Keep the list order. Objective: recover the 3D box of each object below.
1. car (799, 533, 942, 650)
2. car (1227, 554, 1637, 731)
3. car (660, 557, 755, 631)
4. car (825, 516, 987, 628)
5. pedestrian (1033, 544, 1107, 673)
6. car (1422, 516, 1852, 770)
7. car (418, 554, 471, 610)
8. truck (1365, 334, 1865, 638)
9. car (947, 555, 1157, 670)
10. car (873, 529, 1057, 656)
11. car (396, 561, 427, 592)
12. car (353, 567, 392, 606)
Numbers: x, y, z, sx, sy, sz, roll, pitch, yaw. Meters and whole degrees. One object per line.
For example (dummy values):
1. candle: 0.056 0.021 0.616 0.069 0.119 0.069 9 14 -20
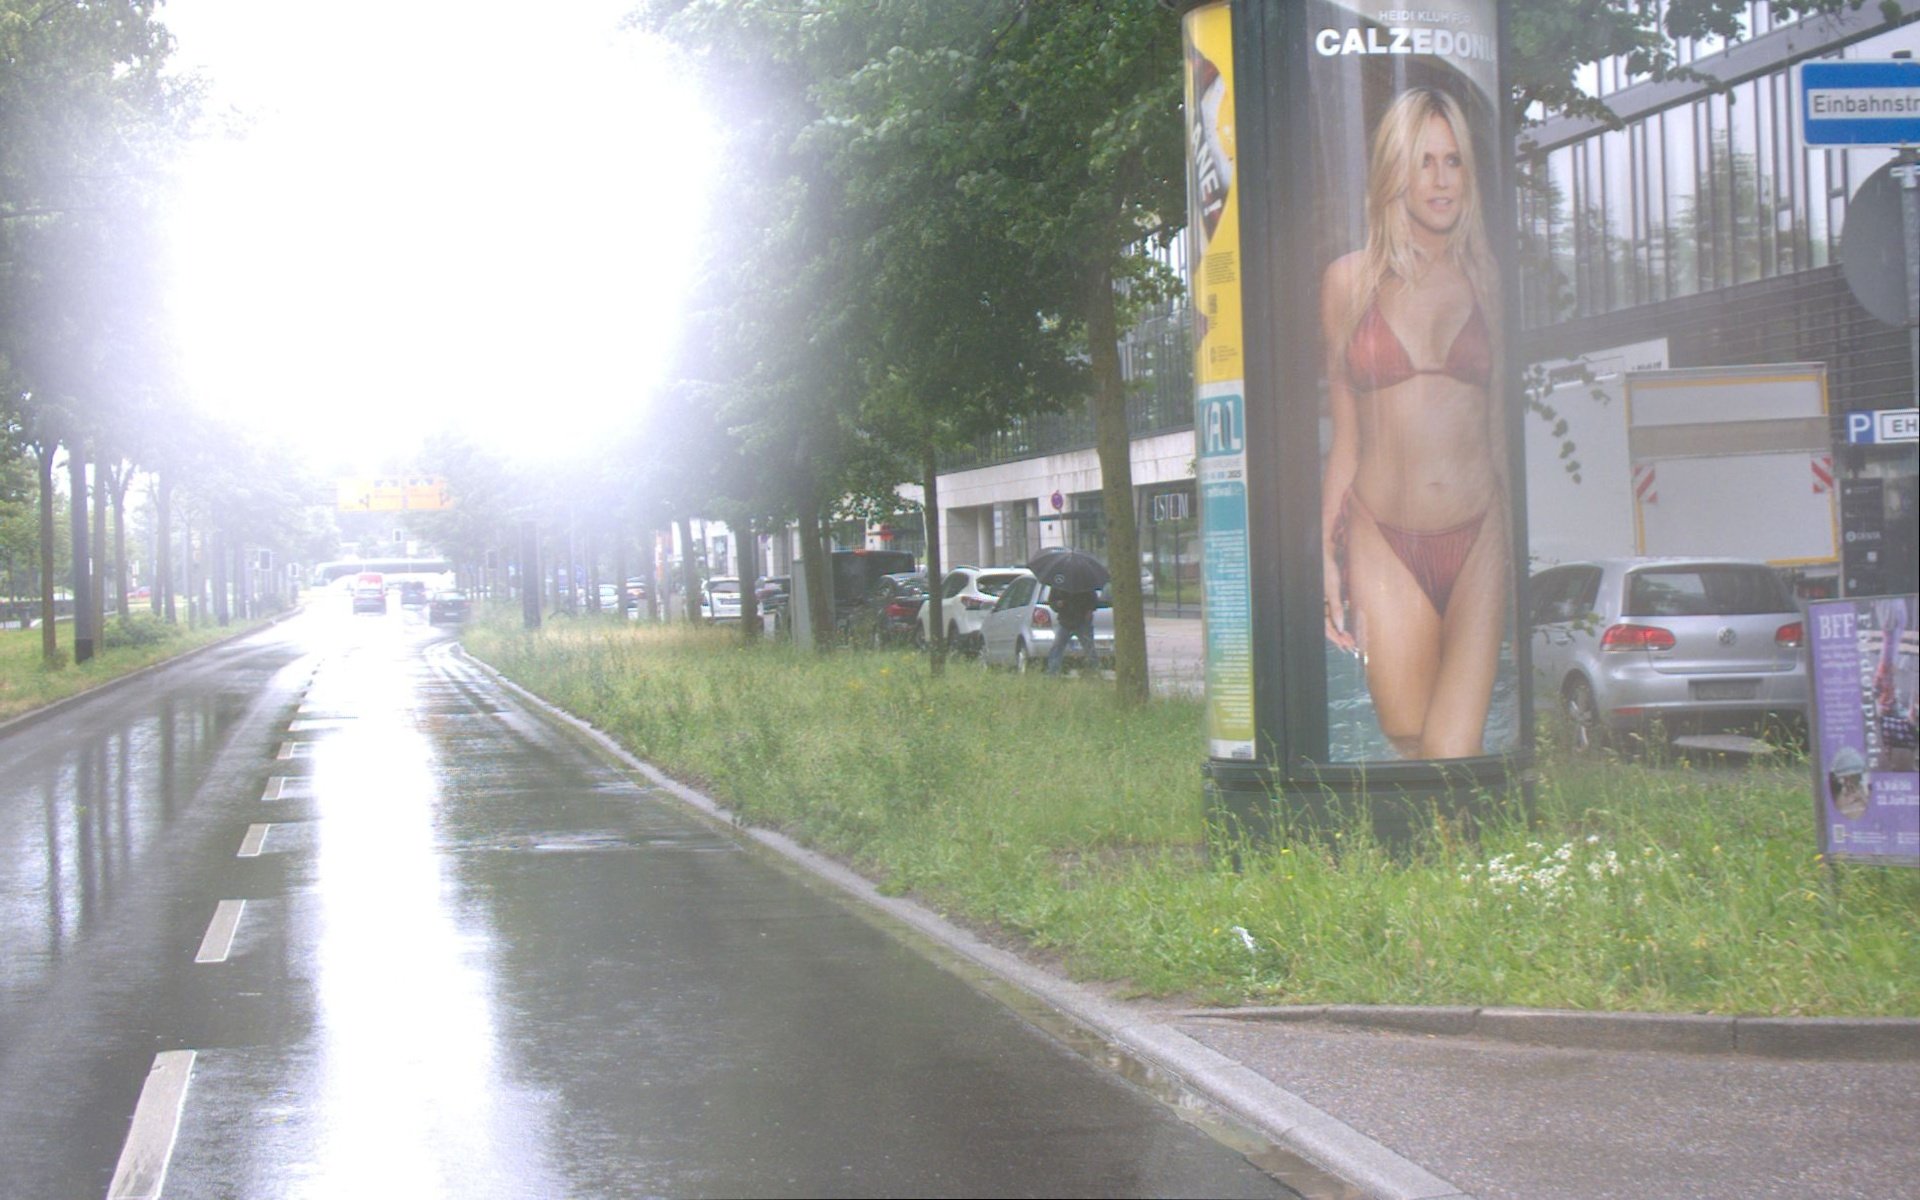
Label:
1. car: -1.749 -0.208 65.501 1.993 1.945 5.031 -2 3 -10
2. car: 4.209 0.340 31.670 1.993 1.439 5.238 -2 1 -13
3. car: -6.608 -0.189 89.581 1.993 1.663 4.725 -2 3 -10
4. car: -0.970 -0.523 58.525 1.993 1.663 4.960 -2 3 -10
5. pedestrian: 1.291 0.097 40.549 0.697 1.488 0.644 -2 0 -12
6. car: 4.899 0.239 25.459 1.760 1.591 4.102 -2 3 -10
7. car: -20.524 -0.728 136.777 1.940 2.006 4.002 -2 3 -9
8. truck: 8.050 -1.349 43.738 3.023 3.429 8.550 -2 1 -13
9. car: 1.187 0.130 46.730 1.769 1.447 4.725 -1 1 -12
10. car: 0.015 -0.161 52.398 1.993 1.663 4.725 -2 3 -10
11. car: -39.109 -1.704 245.253 1.993 2.006 4.001 -2 3 -7
12. car: -33.232 -0.762 194.505 1.993 2.006 4.001 -2 3 -7
